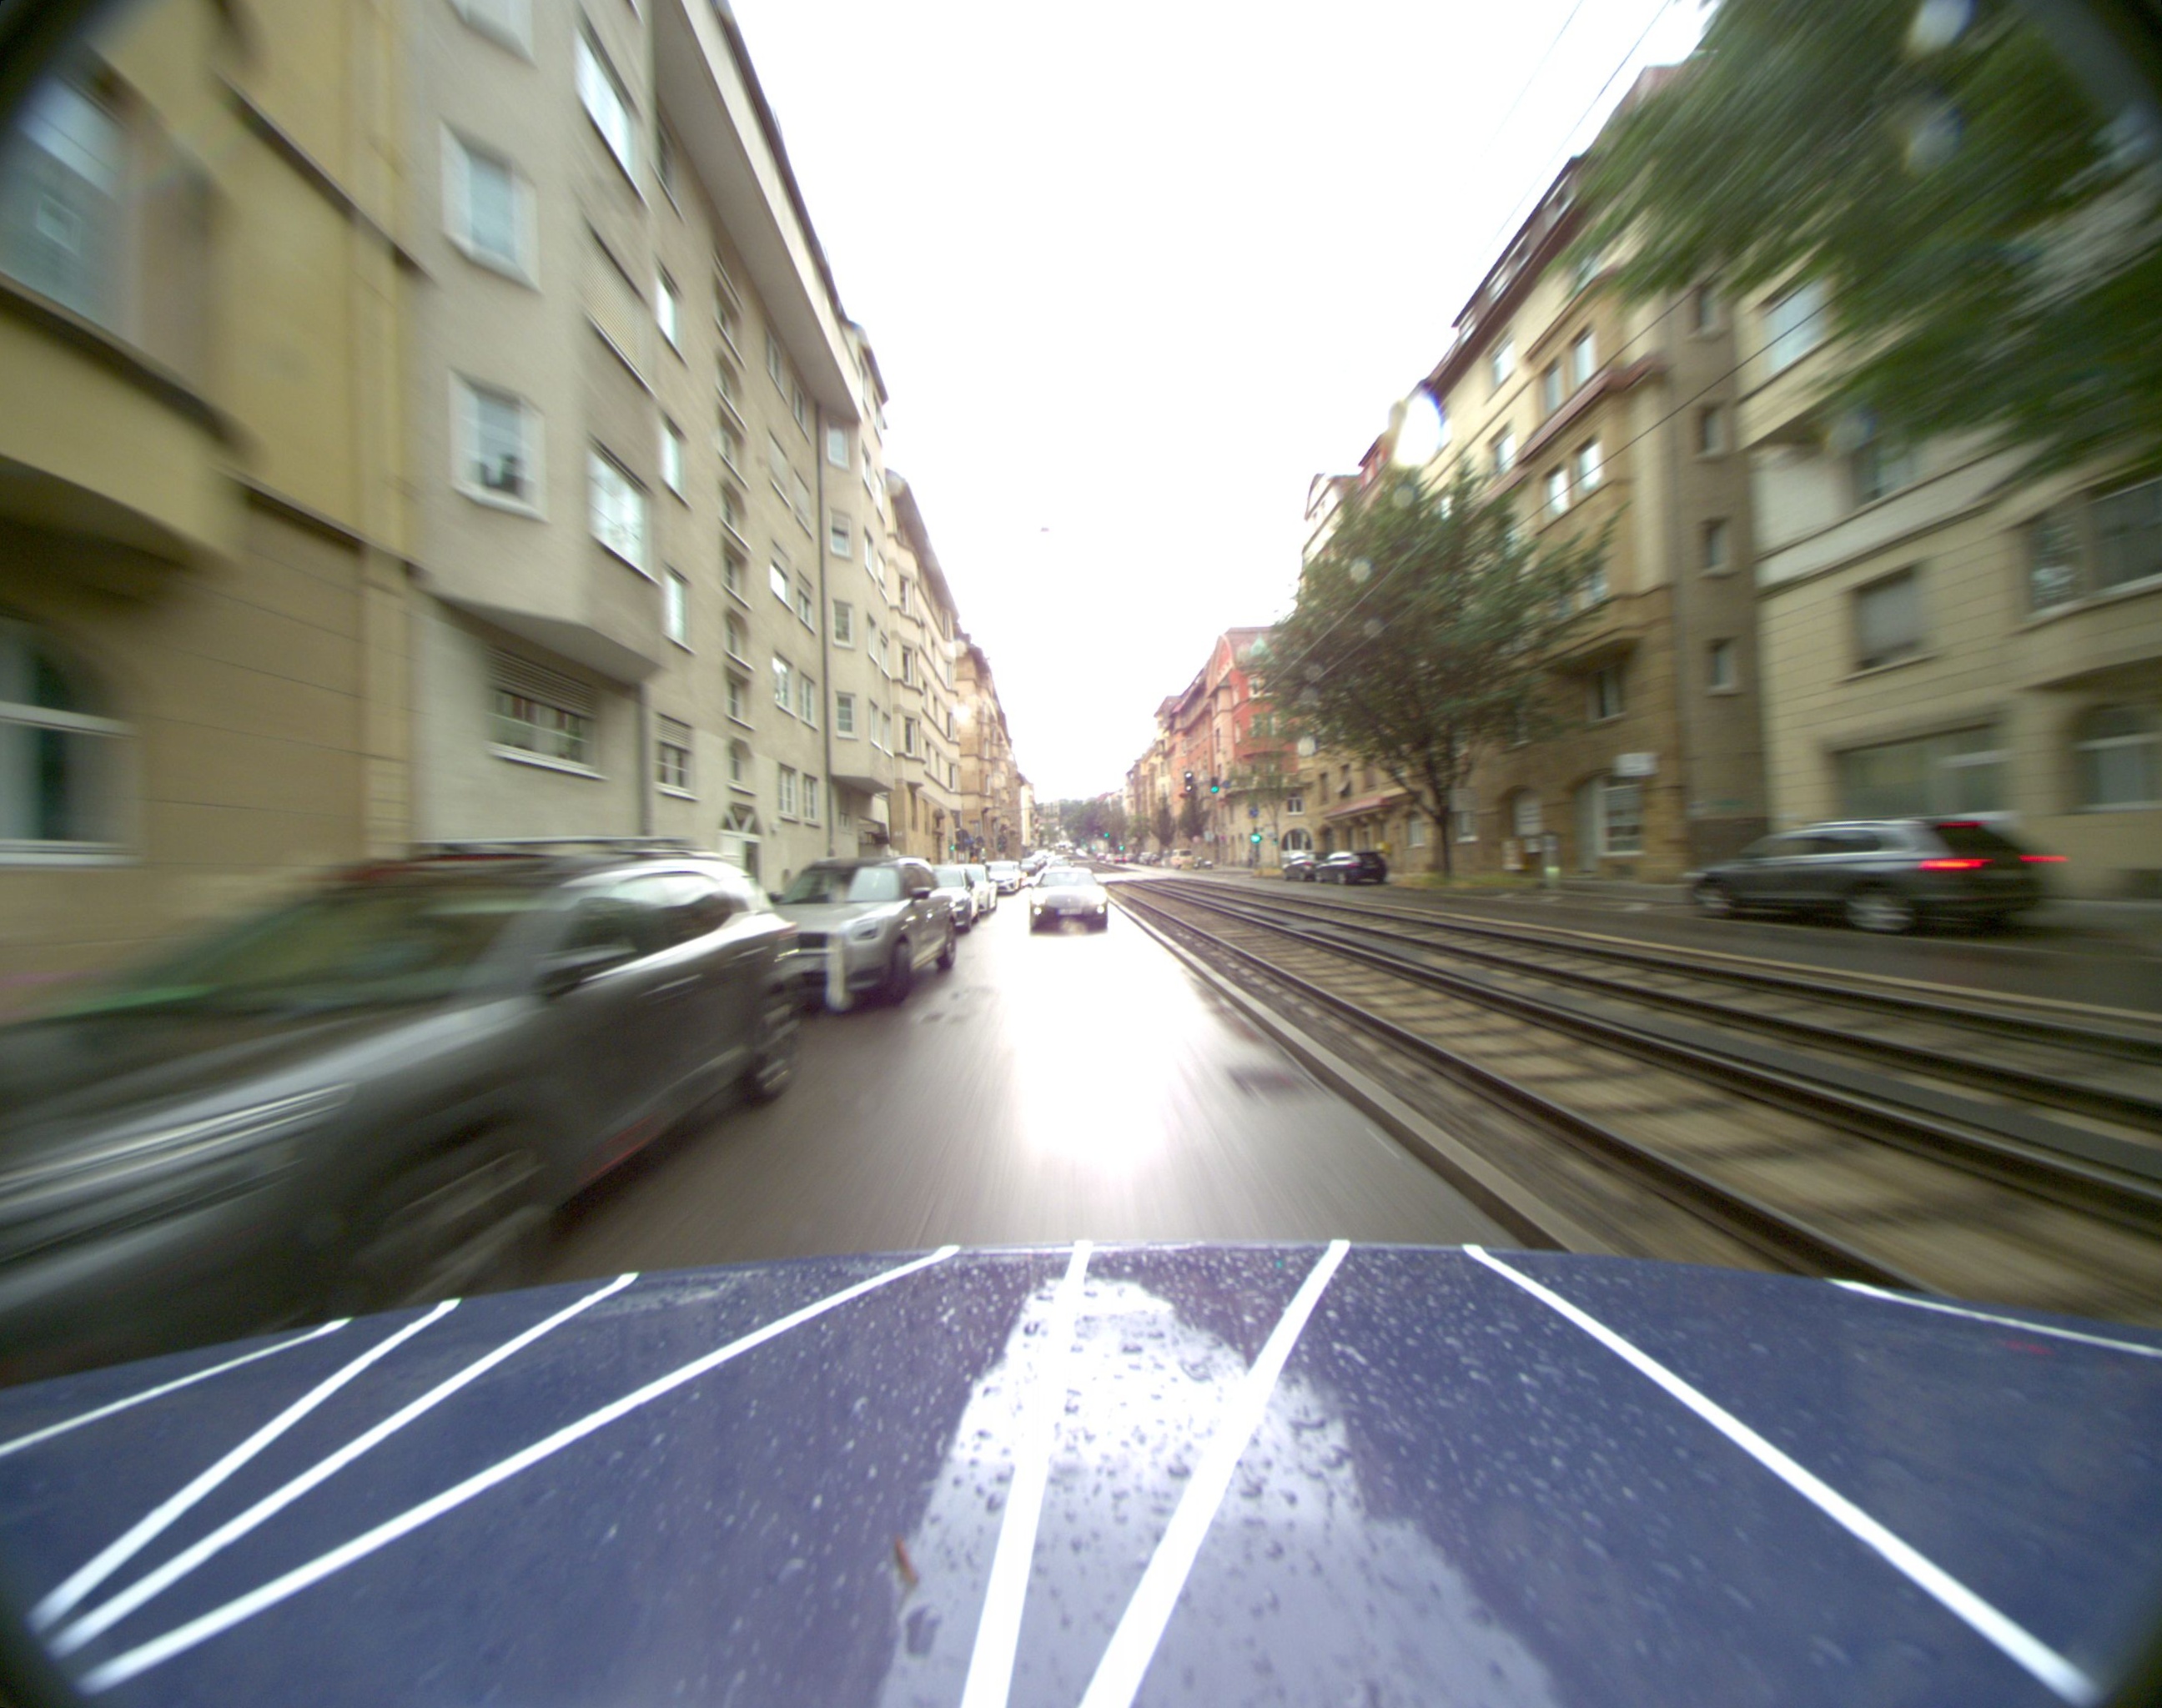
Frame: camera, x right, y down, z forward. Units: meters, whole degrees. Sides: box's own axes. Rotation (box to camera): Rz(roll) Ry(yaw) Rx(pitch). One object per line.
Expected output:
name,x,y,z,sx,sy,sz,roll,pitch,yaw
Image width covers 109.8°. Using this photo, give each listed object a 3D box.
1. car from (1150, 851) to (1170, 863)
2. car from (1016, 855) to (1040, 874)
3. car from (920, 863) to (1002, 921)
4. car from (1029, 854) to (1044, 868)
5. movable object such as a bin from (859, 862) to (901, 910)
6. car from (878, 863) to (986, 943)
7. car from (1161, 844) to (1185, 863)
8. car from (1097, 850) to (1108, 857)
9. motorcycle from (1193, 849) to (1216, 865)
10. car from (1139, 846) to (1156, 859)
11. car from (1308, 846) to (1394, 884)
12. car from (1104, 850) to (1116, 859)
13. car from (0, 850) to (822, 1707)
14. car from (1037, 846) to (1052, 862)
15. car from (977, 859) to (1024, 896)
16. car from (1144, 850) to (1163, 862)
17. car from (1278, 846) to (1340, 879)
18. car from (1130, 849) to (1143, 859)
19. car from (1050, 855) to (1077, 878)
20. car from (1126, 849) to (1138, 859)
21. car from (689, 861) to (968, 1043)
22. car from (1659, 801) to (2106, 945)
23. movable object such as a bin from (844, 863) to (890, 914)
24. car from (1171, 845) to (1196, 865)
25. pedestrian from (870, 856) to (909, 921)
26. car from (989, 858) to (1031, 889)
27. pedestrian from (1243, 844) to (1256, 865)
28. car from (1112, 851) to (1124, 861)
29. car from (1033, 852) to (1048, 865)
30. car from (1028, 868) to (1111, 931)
car,10.060,0.323,96.990,1.760,1.396,3.693,-4,1,-4
car,-4.675,0.931,67.874,1.872,1.540,3.990,-2,0,-1
car,-3.388,1.032,22.242,1.794,1.377,4.393,-1,1,-1
car,-5.274,0.776,90.221,1.774,1.592,3.999,-1,0,-3
movable object such as a bin,-6.443,0.999,24.398,0.982,1.460,1.272,-1,1,-2
car,-3.283,1.021,17.573,1.837,1.459,4.373,-1,1,-3
car,10.180,-0.086,84.369,1.911,1.919,4.831,-1,1,-2
car,4.731,-0.132,166.438,1.926,1.608,4.127,-1,1,-3
motorcycle,10.907,0.301,66.962,1.779,1.367,0.769,-1,1,30
car,9.355,-0.194,107.621,1.760,1.663,4.258,-4,1,-2
car,11.644,0.414,33.182,1.786,1.451,4.976,-1,1,-3
car,5.193,0.085,137.156,1.786,1.494,4.061,-1,1,-3
car,-2.904,0.891,3.596,1.783,1.740,4.547,-1,1,0
car,-6.031,0.044,126.040,1.991,2.520,6.154,-2,0,1
car,-3.673,1.037,35.299,1.716,1.459,4.772,-1,1,-1
car,9.665,0.259,101.828,1.760,1.482,4.596,-4,1,-3
car,11.557,0.401,38.792,1.694,1.520,4.174,-1,1,-3
car,9.177,0.028,126.288,1.717,1.473,3.712,-4,1,0
car,-1.194,0.846,53.334,1.794,1.459,4.256,-1,1,-1
car,8.927,0.010,132.344,1.759,1.443,4.042,-4,1,0
car,-2.772,0.962,9.660,1.846,1.598,4.760,-1,1,1
car,12.283,0.258,12.295,1.958,1.732,4.778,-5,0,-3
movable object such as a bin,-6.433,1.019,22.902,1.021,1.460,1.322,-1,1,-2
car,10.466,0.085,77.646,1.733,1.919,4.474,-1,1,-3
pedestrian,-5.099,0.913,20.268,0.806,1.678,0.754,-1,1,-2
car,-3.745,1.006,40.665,1.715,1.402,4.816,-1,1,0
pedestrian,14.472,0.017,65.307,0.718,1.710,0.892,-7,1,-1
car,5.900,0.284,120.214,1.658,1.454,3.733,-1,0,-1
car,-5.611,0.610,105.067,1.811,1.758,3.961,-2,0,-1
car,-0.274,1.003,18.189,1.737,1.262,4.257,0,0,-1
